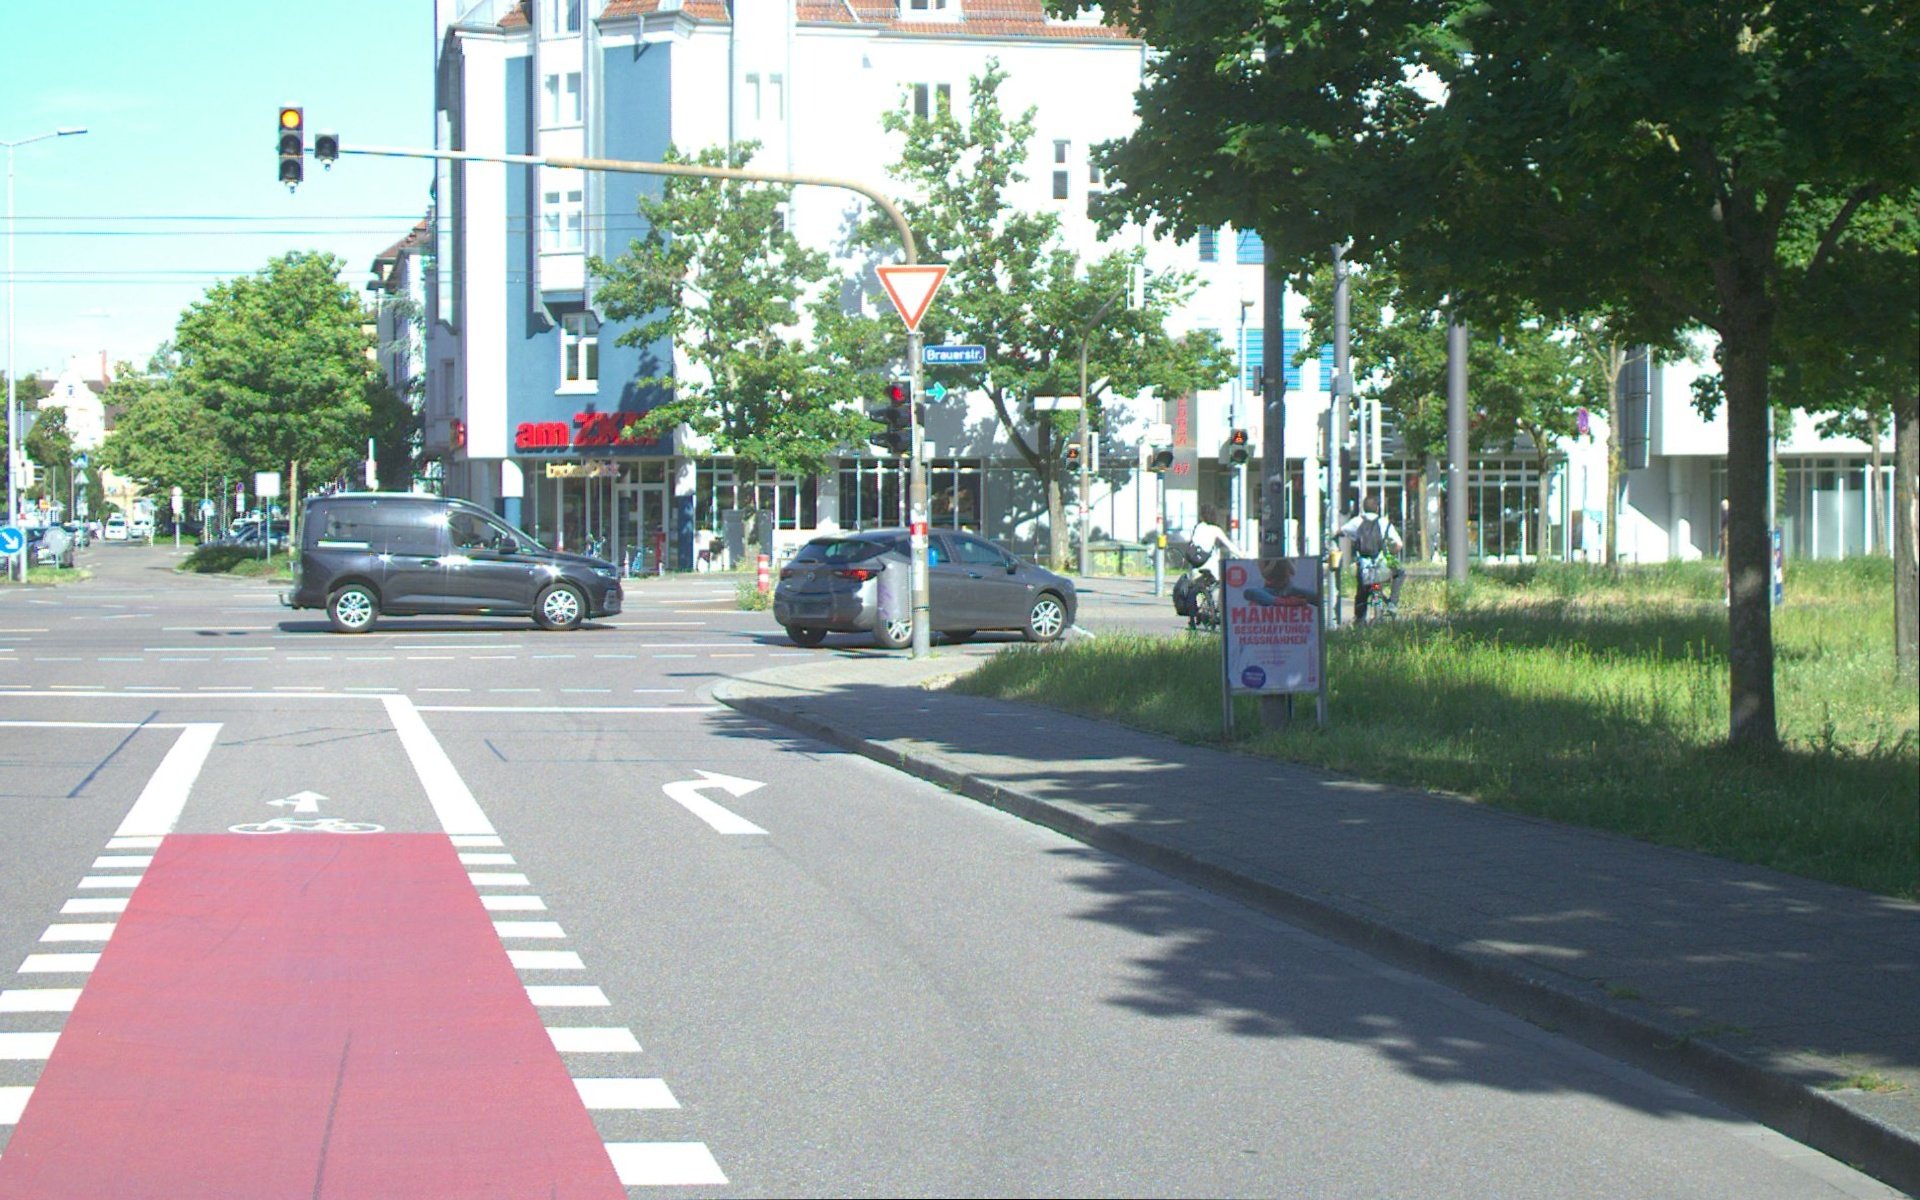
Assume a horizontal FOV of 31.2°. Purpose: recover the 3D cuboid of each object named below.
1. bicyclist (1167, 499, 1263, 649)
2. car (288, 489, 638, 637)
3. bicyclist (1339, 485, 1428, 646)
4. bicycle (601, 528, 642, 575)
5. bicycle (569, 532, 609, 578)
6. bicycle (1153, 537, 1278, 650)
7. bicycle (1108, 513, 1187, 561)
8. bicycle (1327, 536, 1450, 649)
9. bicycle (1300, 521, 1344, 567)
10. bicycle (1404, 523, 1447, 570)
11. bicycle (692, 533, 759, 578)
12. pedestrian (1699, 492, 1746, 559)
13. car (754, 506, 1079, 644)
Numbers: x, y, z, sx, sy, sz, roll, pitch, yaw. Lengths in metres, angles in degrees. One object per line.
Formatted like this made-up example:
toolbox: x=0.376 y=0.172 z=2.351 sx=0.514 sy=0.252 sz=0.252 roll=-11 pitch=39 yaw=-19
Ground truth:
bicyclist: x=3.149 y=-0.332 z=42.389 sx=0.791 sy=1.818 sz=1.134 roll=0 pitch=1 yaw=27
car: x=-6.754 y=-0.500 z=46.576 sx=4.481 sy=1.794 sz=1.765 roll=2 pitch=1 yaw=-14
bicyclist: x=5.215 y=-0.430 z=42.305 sx=0.791 sy=1.952 sz=1.009 roll=0 pitch=1 yaw=27
bicycle: x=-7.636 y=-1.099 z=77.487 sx=0.471 sy=1.023 sz=1.516 roll=-1 pitch=1 yaw=-23
bicycle: x=-8.297 y=-1.014 z=76.838 sx=0.471 sy=1.023 sz=1.516 roll=-1 pitch=1 yaw=-22
bicycle: x=3.164 y=-0.095 z=42.425 sx=0.791 sy=1.343 sz=2.076 roll=0 pitch=1 yaw=27
bicycle: x=4.676 y=-1.586 z=85.786 sx=1.863 sy=1.178 sz=0.562 roll=-1 pitch=1 yaw=-15
bicycle: x=5.311 y=-0.112 z=42.496 sx=0.791 sy=1.343 sz=2.259 roll=0 pitch=1 yaw=27
bicycle: x=9.251 y=-1.436 z=87.832 sx=0.560 sy=1.178 sz=1.870 roll=-1 pitch=1 yaw=-12
bicycle: x=11.940 y=-1.387 z=88.220 sx=0.560 sy=1.178 sz=1.870 roll=0 pitch=1 yaw=-9
bicycle: x=-5.436 y=-1.036 z=79.666 sx=1.511 sy=1.023 sz=0.473 roll=0 pitch=1 yaw=0
pedestrian: x=19.613 y=-1.924 z=88.424 sx=0.989 sy=1.717 sz=0.654 roll=-1 pitch=1 yaw=-12
car: x=-0.516 y=-0.295 z=42.949 sx=3.860 sy=1.572 sz=1.693 roll=2 pitch=1 yaw=-43
